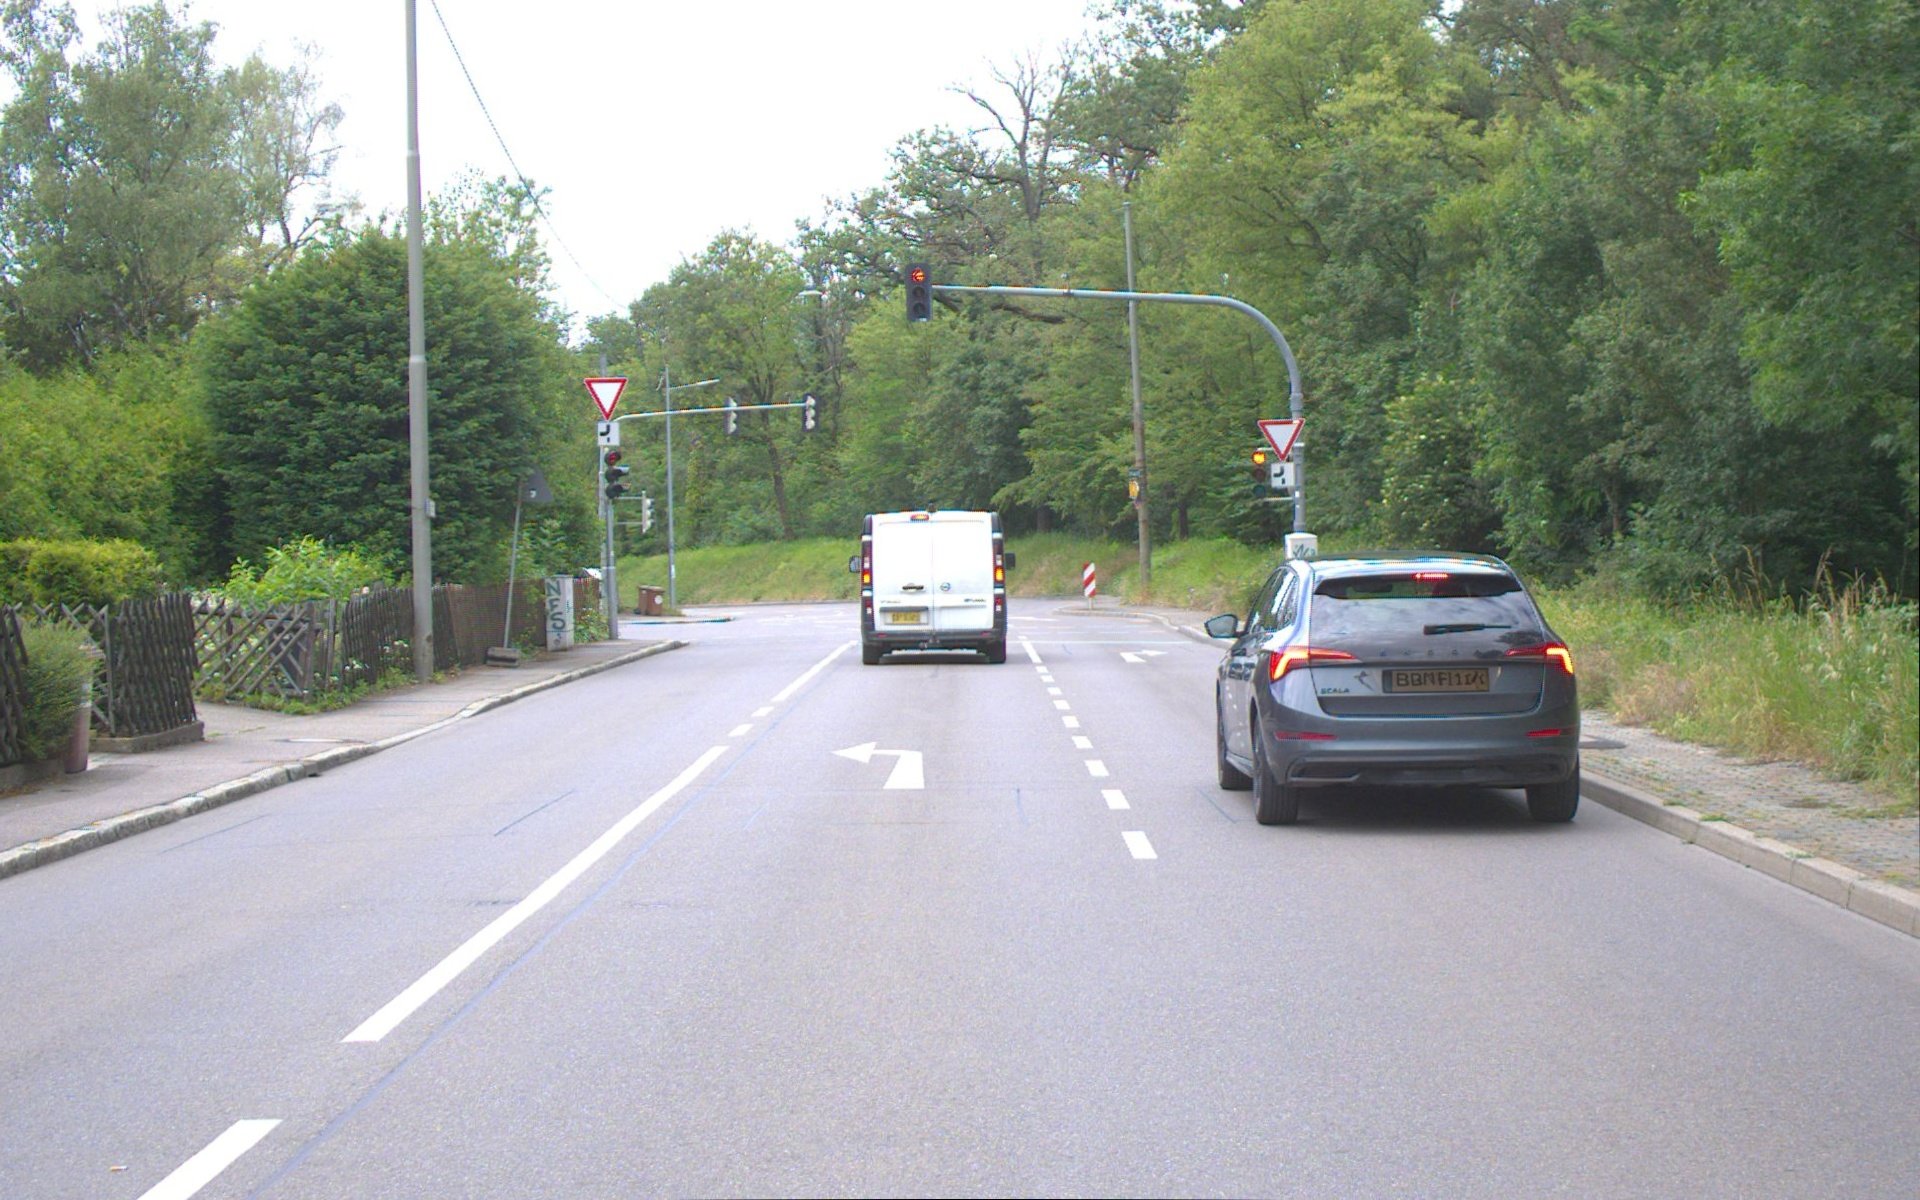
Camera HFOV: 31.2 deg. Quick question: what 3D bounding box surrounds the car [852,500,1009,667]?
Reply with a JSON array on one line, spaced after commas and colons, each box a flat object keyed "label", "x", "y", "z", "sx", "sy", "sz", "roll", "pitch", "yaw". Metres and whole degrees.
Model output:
[{"label": "car", "x": -0.440, "y": -0.234, "z": 45.364, "sx": 1.916, "sy": 2.046, "sz": 4.614, "roll": -1, "pitch": 1, "yaw": -2}]

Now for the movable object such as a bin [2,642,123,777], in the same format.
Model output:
[{"label": "movable object such as a bin", "x": -6.383, "y": 0.773, "z": 24.456, "sx": 0.633, "sy": 0.910, "sz": 0.560, "roll": 2, "pitch": 1, "yaw": 13}]

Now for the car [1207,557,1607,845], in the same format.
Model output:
[{"label": "car", "x": 2.442, "y": 0.495, "z": 19.693, "sx": 1.792, "sy": 1.445, "sz": 4.000, "roll": -1, "pitch": 1, "yaw": 1}]

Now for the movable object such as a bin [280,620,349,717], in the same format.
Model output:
[{"label": "movable object such as a bin", "x": -6.356, "y": 0.671, "z": 33.862, "sx": 0.550, "sy": 0.935, "sz": 0.537, "roll": -1, "pitch": 1, "yaw": 2}]
